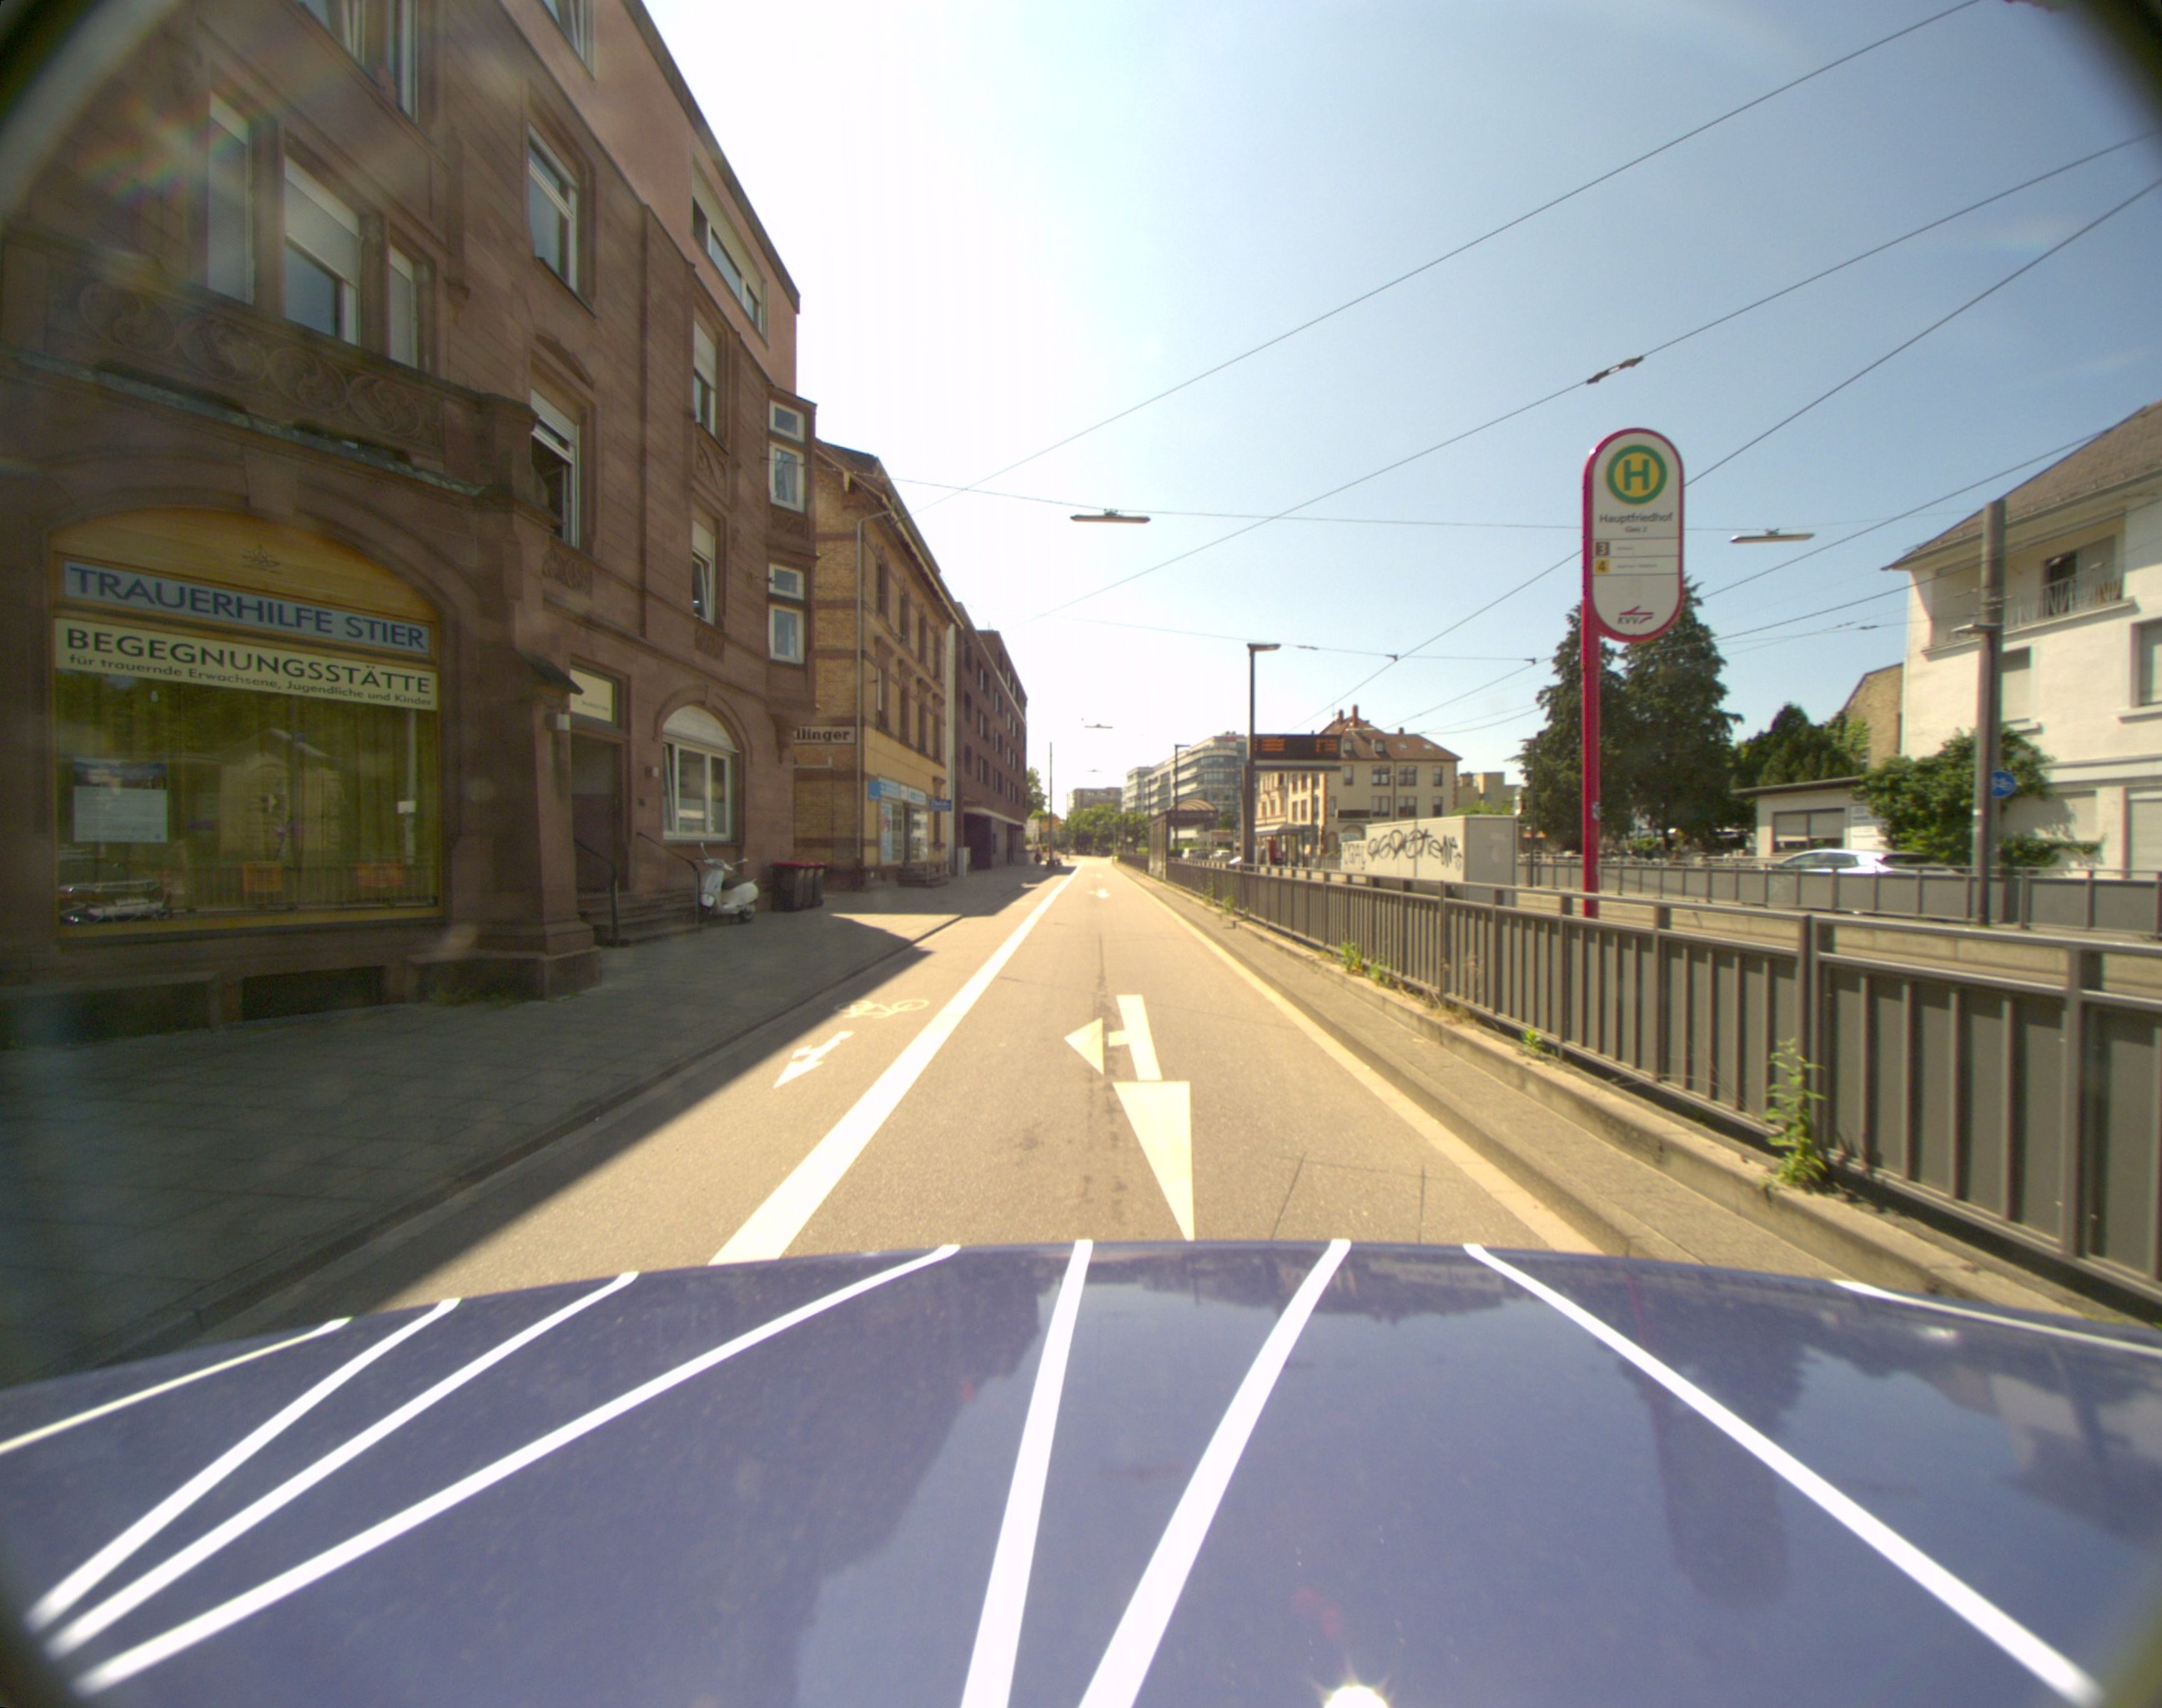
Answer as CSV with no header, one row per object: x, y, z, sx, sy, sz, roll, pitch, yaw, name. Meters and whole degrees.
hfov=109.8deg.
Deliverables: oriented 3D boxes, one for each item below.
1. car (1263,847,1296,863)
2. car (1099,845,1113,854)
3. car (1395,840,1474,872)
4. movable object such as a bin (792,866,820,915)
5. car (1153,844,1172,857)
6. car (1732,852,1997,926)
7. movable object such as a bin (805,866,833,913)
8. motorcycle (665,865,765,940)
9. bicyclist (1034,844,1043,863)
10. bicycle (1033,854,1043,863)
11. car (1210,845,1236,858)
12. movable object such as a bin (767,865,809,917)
17.691,0.087,67.881,1.822,1.388,4.174,0,1,-1,car
5.225,-0.968,159.408,2.000,1.827,3.995,0,1,-11,car
16.893,0.056,36.536,1.861,1.433,4.478,0,1,2,car
-6.106,0.797,16.888,0.376,1.042,0.559,2,1,1,movable object such as a bin
12.341,-0.549,115.545,1.862,1.806,4.694,0,1,-8,car
16.912,0.662,16.751,1.822,1.355,4.052,1,1,5,car
-6.039,0.814,17.536,0.376,1.042,0.657,2,1,1,movable object such as a bin
-6.156,0.774,12.915,0.527,1.142,1.881,0,1,10,motorcycle
-3.883,-0.028,69.280,0.671,1.712,0.928,0,1,4,bicyclist
-3.884,0.435,69.258,0.689,0.793,1.908,0,1,2,bicycle
16.271,-0.330,87.246,1.823,1.459,4.620,0,1,-5,car
-6.280,0.785,16.314,0.649,1.042,0.559,2,1,1,movable object such as a bin
